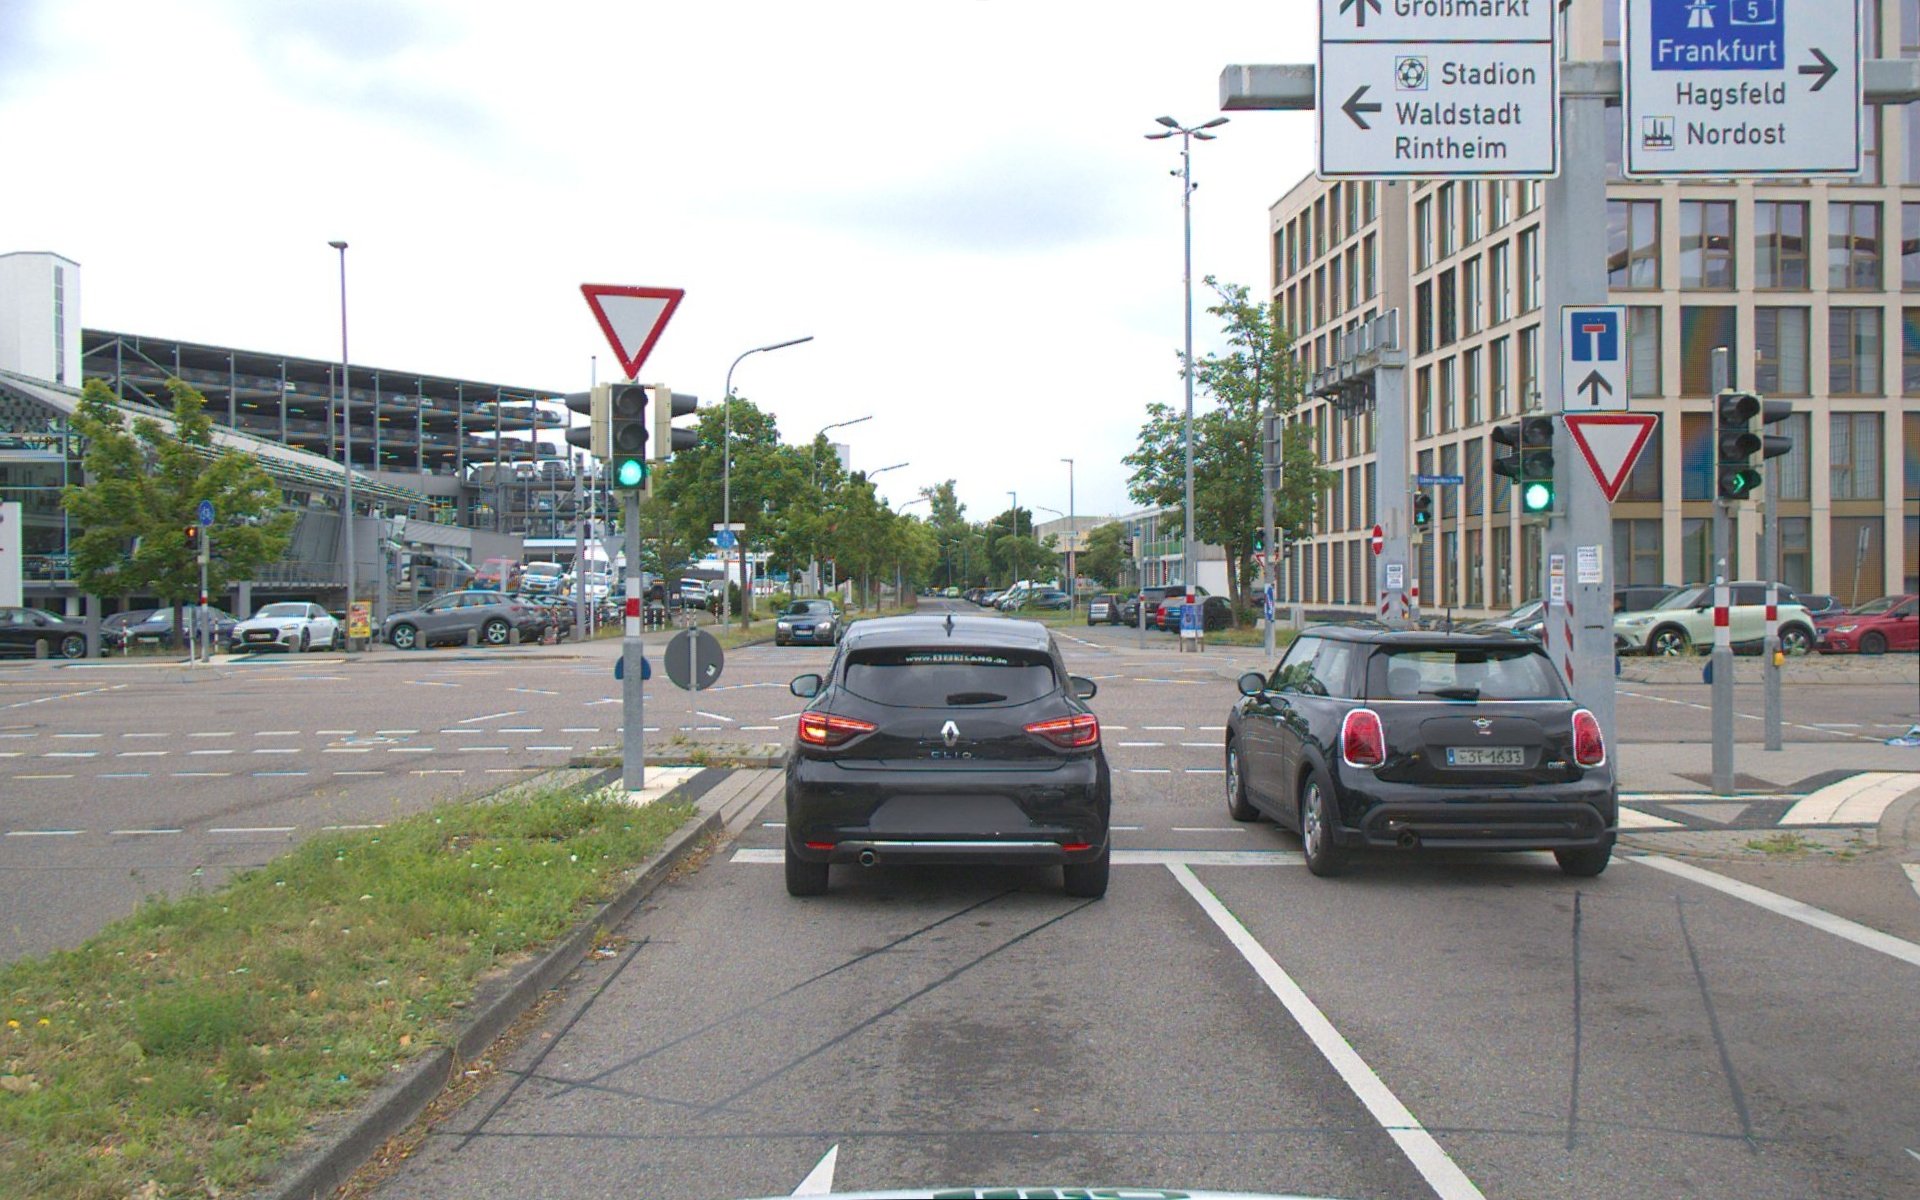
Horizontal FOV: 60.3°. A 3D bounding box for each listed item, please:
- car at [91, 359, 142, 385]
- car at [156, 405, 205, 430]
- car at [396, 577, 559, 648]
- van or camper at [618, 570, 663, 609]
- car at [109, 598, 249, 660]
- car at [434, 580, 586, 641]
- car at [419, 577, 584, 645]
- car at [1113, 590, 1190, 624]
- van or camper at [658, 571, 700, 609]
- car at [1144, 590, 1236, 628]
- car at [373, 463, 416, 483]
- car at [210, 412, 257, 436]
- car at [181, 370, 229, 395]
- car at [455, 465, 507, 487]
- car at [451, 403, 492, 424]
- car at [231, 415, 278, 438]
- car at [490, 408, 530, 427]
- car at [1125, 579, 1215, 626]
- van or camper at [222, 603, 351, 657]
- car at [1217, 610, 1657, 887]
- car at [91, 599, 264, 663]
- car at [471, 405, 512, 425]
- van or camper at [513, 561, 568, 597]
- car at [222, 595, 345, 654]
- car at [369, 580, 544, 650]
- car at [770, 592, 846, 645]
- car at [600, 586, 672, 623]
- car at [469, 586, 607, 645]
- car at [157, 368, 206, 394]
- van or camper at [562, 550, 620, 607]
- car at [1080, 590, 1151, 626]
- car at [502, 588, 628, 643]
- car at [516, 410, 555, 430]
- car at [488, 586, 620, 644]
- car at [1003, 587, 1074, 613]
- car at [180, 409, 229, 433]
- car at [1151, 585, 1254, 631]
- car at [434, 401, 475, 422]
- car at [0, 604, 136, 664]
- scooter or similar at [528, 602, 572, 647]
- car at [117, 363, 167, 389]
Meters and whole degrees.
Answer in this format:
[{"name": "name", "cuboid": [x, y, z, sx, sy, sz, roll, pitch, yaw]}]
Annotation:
[{"name": "car", "cuboid": [-70.063, -18.922, 137.345, 3.914, 1.696, 1.995, 0, 0, 31]}, {"name": "car", "cuboid": [-66.855, -15.638, 141.919, 3.914, 1.696, 1.995, 0, 0, 31]}, {"name": "car", "cuboid": [-15.295, 0.395, 52.624, 4.610, 2.049, 1.998, -2, -1, -5]}, {"name": "van or camper", "cuboid": [-18.081, -0.572, 93.733, 1.954, 2.049, 3.996, 1, -1, -4]}, {"name": "car", "cuboid": [-21.238, 0.832, 45.188, 2.023, 1.512, 4.510, -2, -3, -6]}, {"name": "car", "cuboid": [-15.798, 0.384, 58.254, 4.853, 1.909, 2.051, -2, -1, -7]}, {"name": "car", "cuboid": [-15.352, 0.370, 55.631, 4.925, 2.049, 2.263, -2, -1, -5]}, {"name": "car", "cuboid": [8.948, 0.338, 77.041, 1.667, 1.538, 3.794, -1, -1, 42]}, {"name": "van or camper", "cuboid": [-15.927, -0.531, 93.952, 1.954, 2.049, 3.996, 1, -1, -4]}, {"name": "car", "cuboid": [9.825, 0.396, 70.448, 1.857, 1.578, 4.105, -1, -1, 44]}, {"name": "car", "cuboid": [-55.376, -12.445, 161.893, 3.914, 1.696, 1.995, 0, 0, 31]}, {"name": "car", "cuboid": [-64.202, -15.537, 146.139, 3.914, 1.696, 1.995, 0, 0, 31]}, {"name": "car", "cuboid": [-65.818, -18.974, 144.235, 3.914, 1.696, 1.995, 0, 0, 31]}, {"name": "car", "cuboid": [-50.265, -12.984, 173.639, 5.212, 1.979, 2.208, 0, 0, 28]}, {"name": "car", "cuboid": [-50.540, -19.283, 171.035, 3.914, 1.696, 1.995, 0, 0, 31]}, {"name": "car", "cuboid": [-63.221, -15.498, 148.141, 3.914, 1.696, 1.995, 0, 0, 31]}, {"name": "car", "cuboid": [-47.698, -19.337, 175.388, 3.914, 1.696, 1.995, 0, 0, 31]}, {"name": "car", "cuboid": [9.374, 0.137, 73.646, 1.963, 2.000, 4.221, -1, -1, 41]}, {"name": "van or camper", "cuboid": [-24.556, 1.093, 60.401, 3.909, 1.848, 1.845, 1, -1, -5]}, {"name": "car", "cuboid": [2.824, 0.814, 10.621, 1.749, 1.440, 3.642, 1, -1, 0]}, {"name": "car", "cuboid": [-25.673, 0.991, 54.410, 4.706, 1.973, 1.999, -1, 0, -4]}, {"name": "car", "cuboid": [-49.057, -19.392, 173.261, 3.914, 1.696, 1.995, 0, 0, 31]}, {"name": "van or camper", "cuboid": [-20.844, -1.019, 82.351, 1.954, 1.680, 3.996, 1, -1, -4]}, {"name": "car", "cuboid": [-18.486, 0.706, 45.416, 1.832, 1.512, 4.226, -1, -2, -3]}, {"name": "car", "cuboid": [-15.161, 0.445, 50.056, 4.679, 1.895, 1.998, -2, -1, -6]}, {"name": "car", "cuboid": [-4.731, 0.560, 52.179, 1.938, 1.578, 4.614, 0, 0, 0]}, {"name": "car", "cuboid": [-19.148, 0.279, 97.948, 3.908, 2.049, 1.999, 1, -1, -4]}, {"name": "car", "cuboid": [-16.173, 0.597, 63.556, 4.798, 2.049, 1.998, -2, -1, -6]}, {"name": "car", "cuboid": [-66.833, -18.802, 142.040, 3.914, 1.696, 1.995, 0, 0, 31]}, {"name": "van or camper", "cuboid": [-20.868, -1.178, 93.712, 2.486, 3.079, 4.839, 1, -1, -4]}, {"name": "car", "cuboid": [7.850, 0.411, 83.338, 3.405, 1.762, 1.739, 2, -1, -42]}, {"name": "car", "cuboid": [-16.444, 0.634, 69.102, 4.798, 2.049, 1.998, -2, -1, -6]}, {"name": "car", "cuboid": [-45.899, -19.432, 178.766, 3.914, 1.696, 1.995, 0, 0, 31]}, {"name": "car", "cuboid": [-16.193, 0.598, 66.112, 4.798, 2.049, 1.998, -2, -1, -6]}, {"name": "car", "cuboid": [5.784, 0.011, 122.872, 5.070, 1.750, 2.142, 1, -1, -3]}, {"name": "car", "cuboid": [-65.752, -15.592, 143.966, 3.914, 1.696, 1.995, 0, 0, 31]}, {"name": "car", "cuboid": [9.714, 0.329, 66.060, 4.095, 1.799, 1.861, 0, -1, -41]}, {"name": "car", "cuboid": [-51.658, -19.245, 169.042, 3.914, 1.696, 1.995, 0, 0, 31]}, {"name": "car", "cuboid": [-25.215, 0.955, 44.946, 4.646, 1.512, 1.891, -1, -3, -4]}, {"name": "scooter or similar", "cuboid": [-11.748, 0.682, 47.430, 0.545, 1.240, 1.561, 2, 1, 13]}, {"name": "car", "cuboid": [-68.982, -18.873, 139.534, 3.914, 1.696, 1.995, 0, 0, 31]}]
